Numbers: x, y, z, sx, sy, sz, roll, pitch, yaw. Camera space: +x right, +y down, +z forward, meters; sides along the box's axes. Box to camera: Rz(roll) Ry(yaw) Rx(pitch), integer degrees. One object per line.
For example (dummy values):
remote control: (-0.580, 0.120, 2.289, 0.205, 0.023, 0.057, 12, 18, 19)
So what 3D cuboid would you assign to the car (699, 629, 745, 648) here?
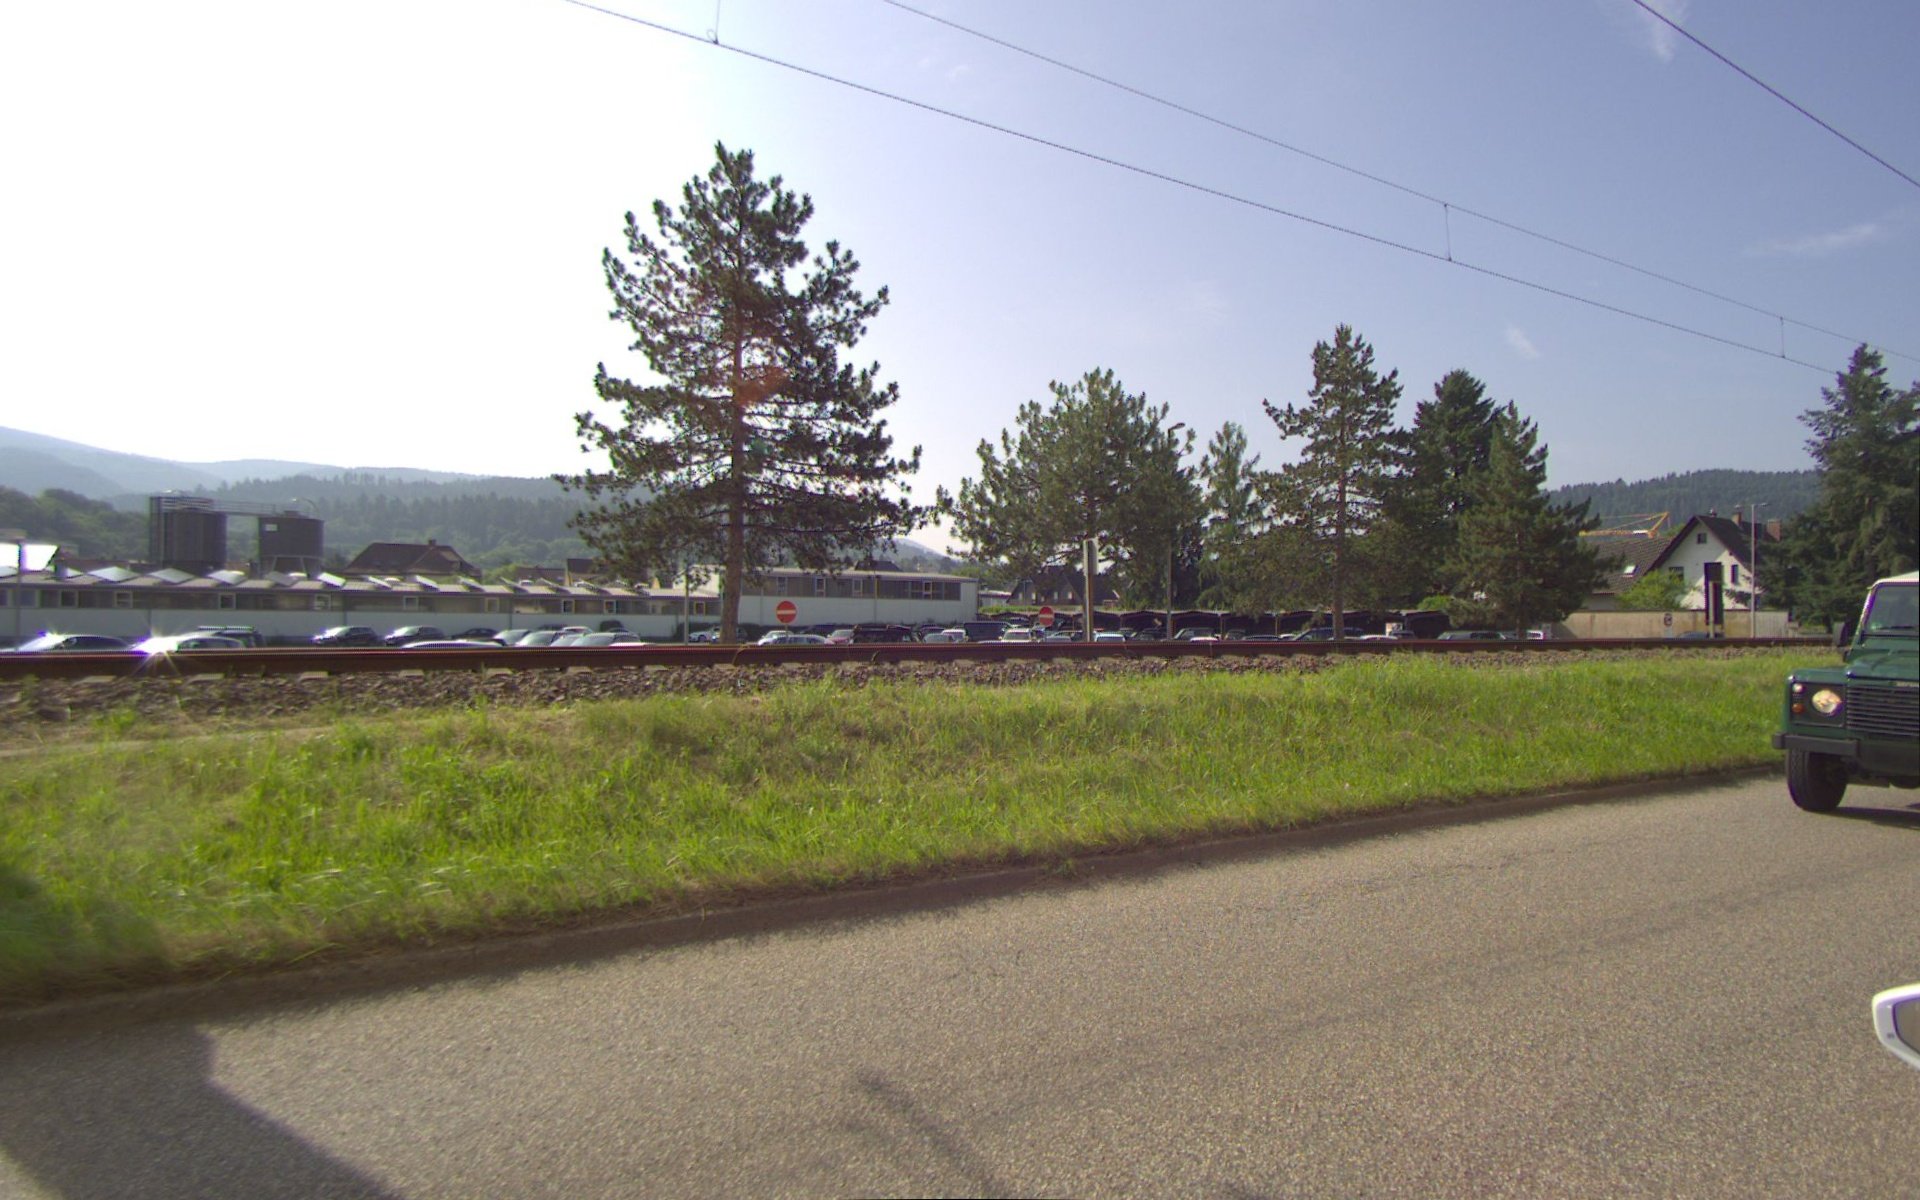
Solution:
car: (-19.067, 3.092, 80.633, 3.402, 1.465, 1.579, 1, -1, -8)

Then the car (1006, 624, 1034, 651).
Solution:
car: (3.183, 1.977, 53.123, 1.428, 1.342, 3.538, 0, -2, 3)

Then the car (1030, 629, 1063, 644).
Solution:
car: (7.628, 3.215, 88.761, 1.432, 1.342, 3.528, -1, -2, 33)

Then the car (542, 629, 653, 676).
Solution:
car: (-12.472, 1.762, 34.780, 1.654, 1.526, 3.855, 0, -2, 16)

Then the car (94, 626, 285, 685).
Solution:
car: (-20.676, 1.456, 27.157, 1.654, 1.462, 3.855, 0, -2, 16)

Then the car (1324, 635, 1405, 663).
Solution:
car: (20.017, 2.395, 49.787, 3.465, 1.343, 1.458, 0, -2, 7)

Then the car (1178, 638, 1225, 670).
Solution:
car: (10.744, 2.365, 44.868, 1.428, 1.342, 3.538, 0, -2, 3)

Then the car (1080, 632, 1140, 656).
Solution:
car: (8.840, 2.577, 59.210, 3.465, 1.412, 1.458, 0, -2, 7)

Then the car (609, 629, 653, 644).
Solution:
car: (-28.352, 3.145, 86.666, 3.402, 1.343, 1.434, 1, -2, -30)

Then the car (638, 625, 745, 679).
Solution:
car: (-8.814, 1.673, 33.295, 1.654, 1.664, 3.855, 0, -2, 16)

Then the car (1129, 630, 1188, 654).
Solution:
car: (12.241, 2.589, 62.104, 3.465, 1.412, 1.458, 0, -2, 7)

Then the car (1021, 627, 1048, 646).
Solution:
car: (5.360, 2.603, 72.535, 1.429, 1.342, 3.535, 0, -2, -4)

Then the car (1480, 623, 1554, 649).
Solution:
car: (37.578, 2.405, 67.813, 1.802, 1.688, 3.956, 1, -1, -38)

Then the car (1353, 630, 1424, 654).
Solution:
car: (24.468, 2.382, 57.412, 1.447, 1.342, 3.492, 2, -2, -43)

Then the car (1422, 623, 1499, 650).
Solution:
car: (31.423, 2.247, 63.135, 1.802, 1.557, 3.956, 1, -1, -38)

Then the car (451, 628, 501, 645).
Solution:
car: (-38.729, 2.906, 80.369, 3.497, 1.343, 1.445, 1, -2, -32)

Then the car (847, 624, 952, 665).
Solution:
car: (-2.129, 1.567, 35.816, 3.450, 1.375, 1.520, 0, -2, 14)

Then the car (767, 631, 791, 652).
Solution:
car: (-12.162, 2.769, 67.590, 1.431, 1.342, 3.532, 1, -2, -9)

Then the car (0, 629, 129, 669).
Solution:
car: (-32.839, 1.750, 36.495, 1.654, 1.350, 3.855, 0, -2, 12)

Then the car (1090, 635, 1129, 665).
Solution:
car: (7.010, 2.319, 47.319, 1.428, 1.342, 3.538, 0, -2, 3)

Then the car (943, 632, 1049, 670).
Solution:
car: (1.372, 1.877, 37.386, 3.779, 1.343, 1.566, 0, -2, 8)

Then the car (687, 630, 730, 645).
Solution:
car: (-22.494, 3.359, 89.793, 3.497, 1.343, 1.445, 1, -2, -32)

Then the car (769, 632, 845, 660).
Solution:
car: (-7.198, 2.154, 47.478, 3.274, 1.285, 1.458, 0, -2, 7)

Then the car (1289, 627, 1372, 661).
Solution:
car: (19.174, 2.262, 52.128, 3.729, 1.710, 1.647, 0, -1, 6)

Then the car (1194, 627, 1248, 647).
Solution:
car: (18.371, 2.606, 70.791, 3.488, 1.342, 1.448, -1, -2, 44)

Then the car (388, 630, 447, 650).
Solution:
car: (-37.489, 2.731, 69.412, 3.412, 1.342, 1.430, 2, -2, -38)

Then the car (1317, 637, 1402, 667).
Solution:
car: (18.763, 2.444, 47.273, 3.465, 1.343, 1.458, 0, -2, 7)

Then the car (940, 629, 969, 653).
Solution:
car: (-0.300, 2.381, 58.598, 1.428, 1.342, 3.538, 0, -2, 3)

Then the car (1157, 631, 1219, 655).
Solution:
car: (13.538, 2.544, 59.783, 3.465, 1.343, 1.458, 0, -2, 7)

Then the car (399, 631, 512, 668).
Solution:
car: (-18.617, 1.805, 37.262, 1.536, 1.278, 3.855, 0, -2, 16)

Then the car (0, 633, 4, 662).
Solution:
car: (-58.097, 2.753, 57.992, 1.655, 1.664, 3.852, 0, -2, 21)

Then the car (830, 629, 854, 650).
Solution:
car: (-7.975, 2.661, 67.703, 1.431, 1.342, 3.532, 1, -2, -9)

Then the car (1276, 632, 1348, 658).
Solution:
car: (19.173, 2.439, 54.863, 3.465, 1.343, 1.458, 0, -2, 7)

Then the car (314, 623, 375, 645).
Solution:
car: (-41.966, 2.307, 68.486, 3.434, 1.465, 1.564, 2, -2, -37)

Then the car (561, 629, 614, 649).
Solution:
car: (-28.892, 3.014, 78.003, 3.466, 1.543, 1.568, 0, -2, 3)

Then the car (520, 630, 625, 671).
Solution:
car: (-14.361, 1.847, 37.452, 1.654, 1.408, 3.855, 0, -2, 16)

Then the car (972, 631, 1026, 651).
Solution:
car: (2.651, 2.743, 67.879, 3.465, 1.343, 1.458, 0, -2, 7)

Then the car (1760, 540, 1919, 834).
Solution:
car: (8.905, 0.663, 8.429, 4.749, 2.106, 1.750, 1, 0, -29)
